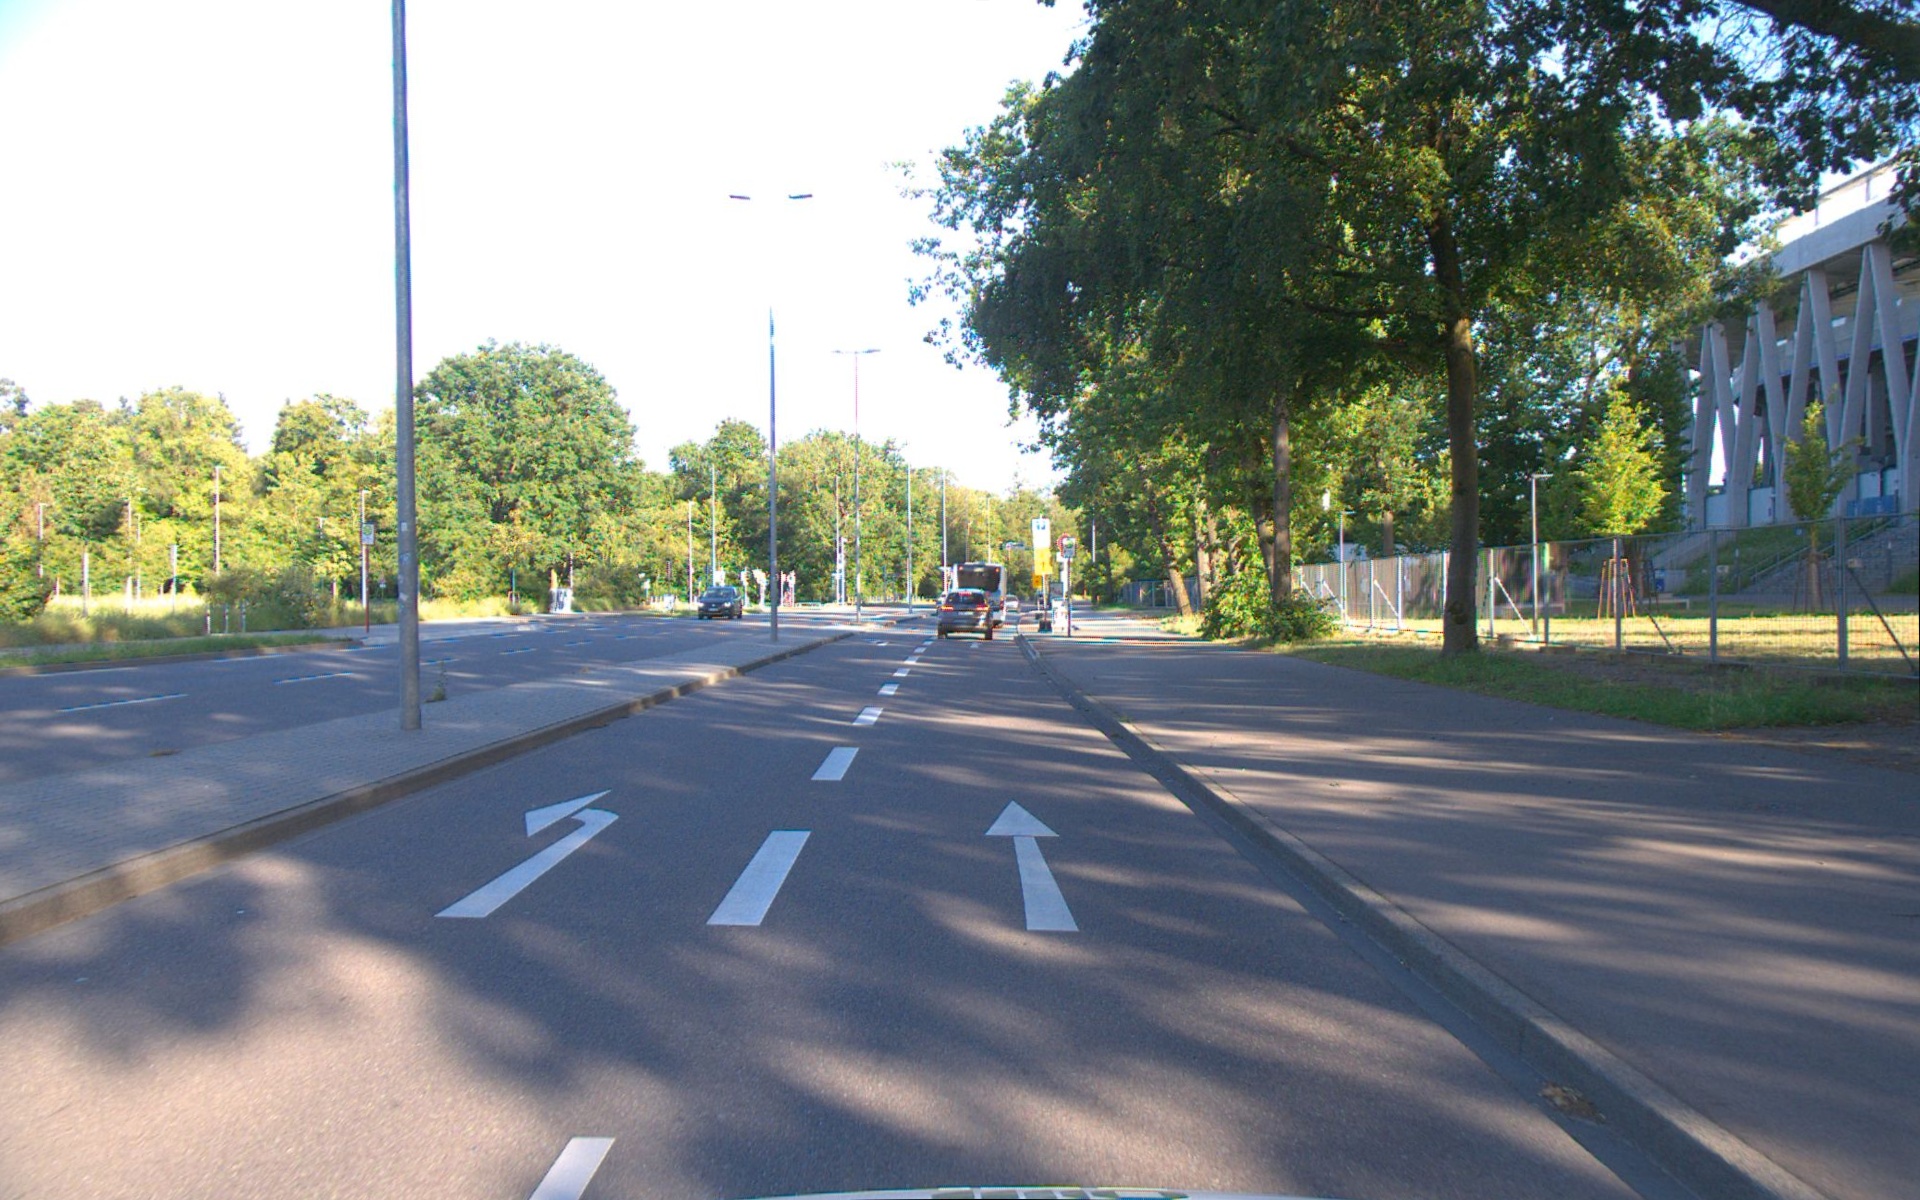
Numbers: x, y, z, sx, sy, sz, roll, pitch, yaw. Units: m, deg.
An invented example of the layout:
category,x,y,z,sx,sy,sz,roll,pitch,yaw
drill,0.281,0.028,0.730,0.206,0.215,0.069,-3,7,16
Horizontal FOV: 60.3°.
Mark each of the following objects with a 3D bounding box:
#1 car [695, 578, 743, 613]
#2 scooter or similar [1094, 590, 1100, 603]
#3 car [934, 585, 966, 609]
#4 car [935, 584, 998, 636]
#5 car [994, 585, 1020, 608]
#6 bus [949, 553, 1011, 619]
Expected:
category,x,y,z,sx,sy,sz,roll,pitch,yaw
car,-12.599,-0.258,86.679,1.746,1.721,4.702,2,1,0
scooter or similar,15.349,-0.372,185.196,0.497,1.469,2.022,-1,0,-2
car,-0.620,-0.192,107.677,1.798,1.545,4.002,0,0,3
car,0.258,0.311,55.824,1.859,1.660,4.002,1,0,3
car,3.698,-0.279,129.577,1.870,1.758,4.581,1,0,3
bus,1.047,-0.644,81.079,2.540,3.041,9.330,1,0,3
